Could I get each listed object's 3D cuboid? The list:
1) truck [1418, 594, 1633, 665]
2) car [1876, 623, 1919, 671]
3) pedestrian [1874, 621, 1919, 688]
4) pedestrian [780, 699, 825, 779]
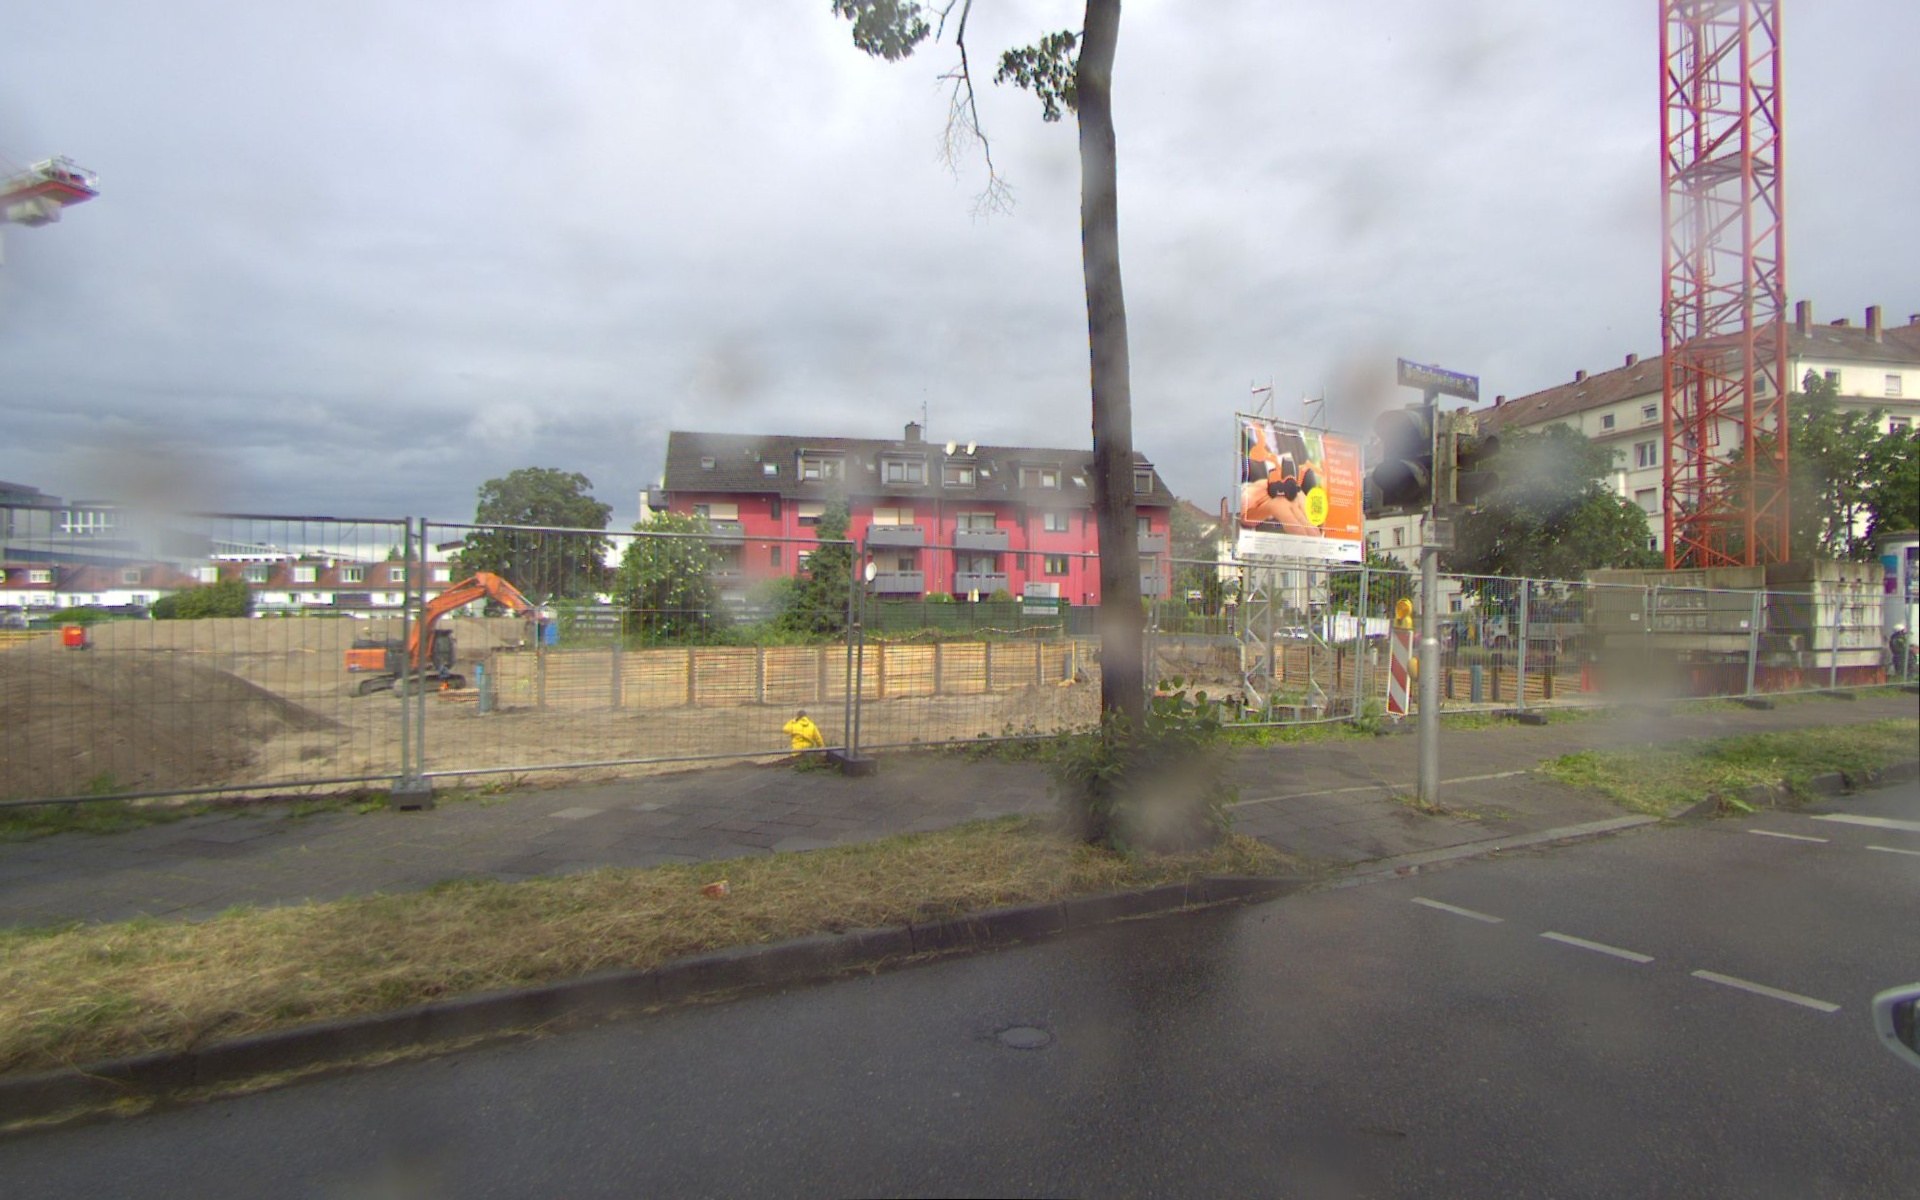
[{"bbox_3d":[28.629,1.338,51.663,3.731,3.227,9.808,0,1,-17],"label":"truck"},{"bbox_3d":[34.818,1.633,35.031,1.878,1.658,3.959,3,-5,-37],"label":"car"},{"bbox_3d":[23.931,1.379,25.602,0.710,1.651,0.684,1,0,23],"label":"pedestrian"},{"bbox_3d":[-3.506,3.074,22.338,0.837,1.706,0.585,1,-4,-25],"label":"pedestrian"}]
